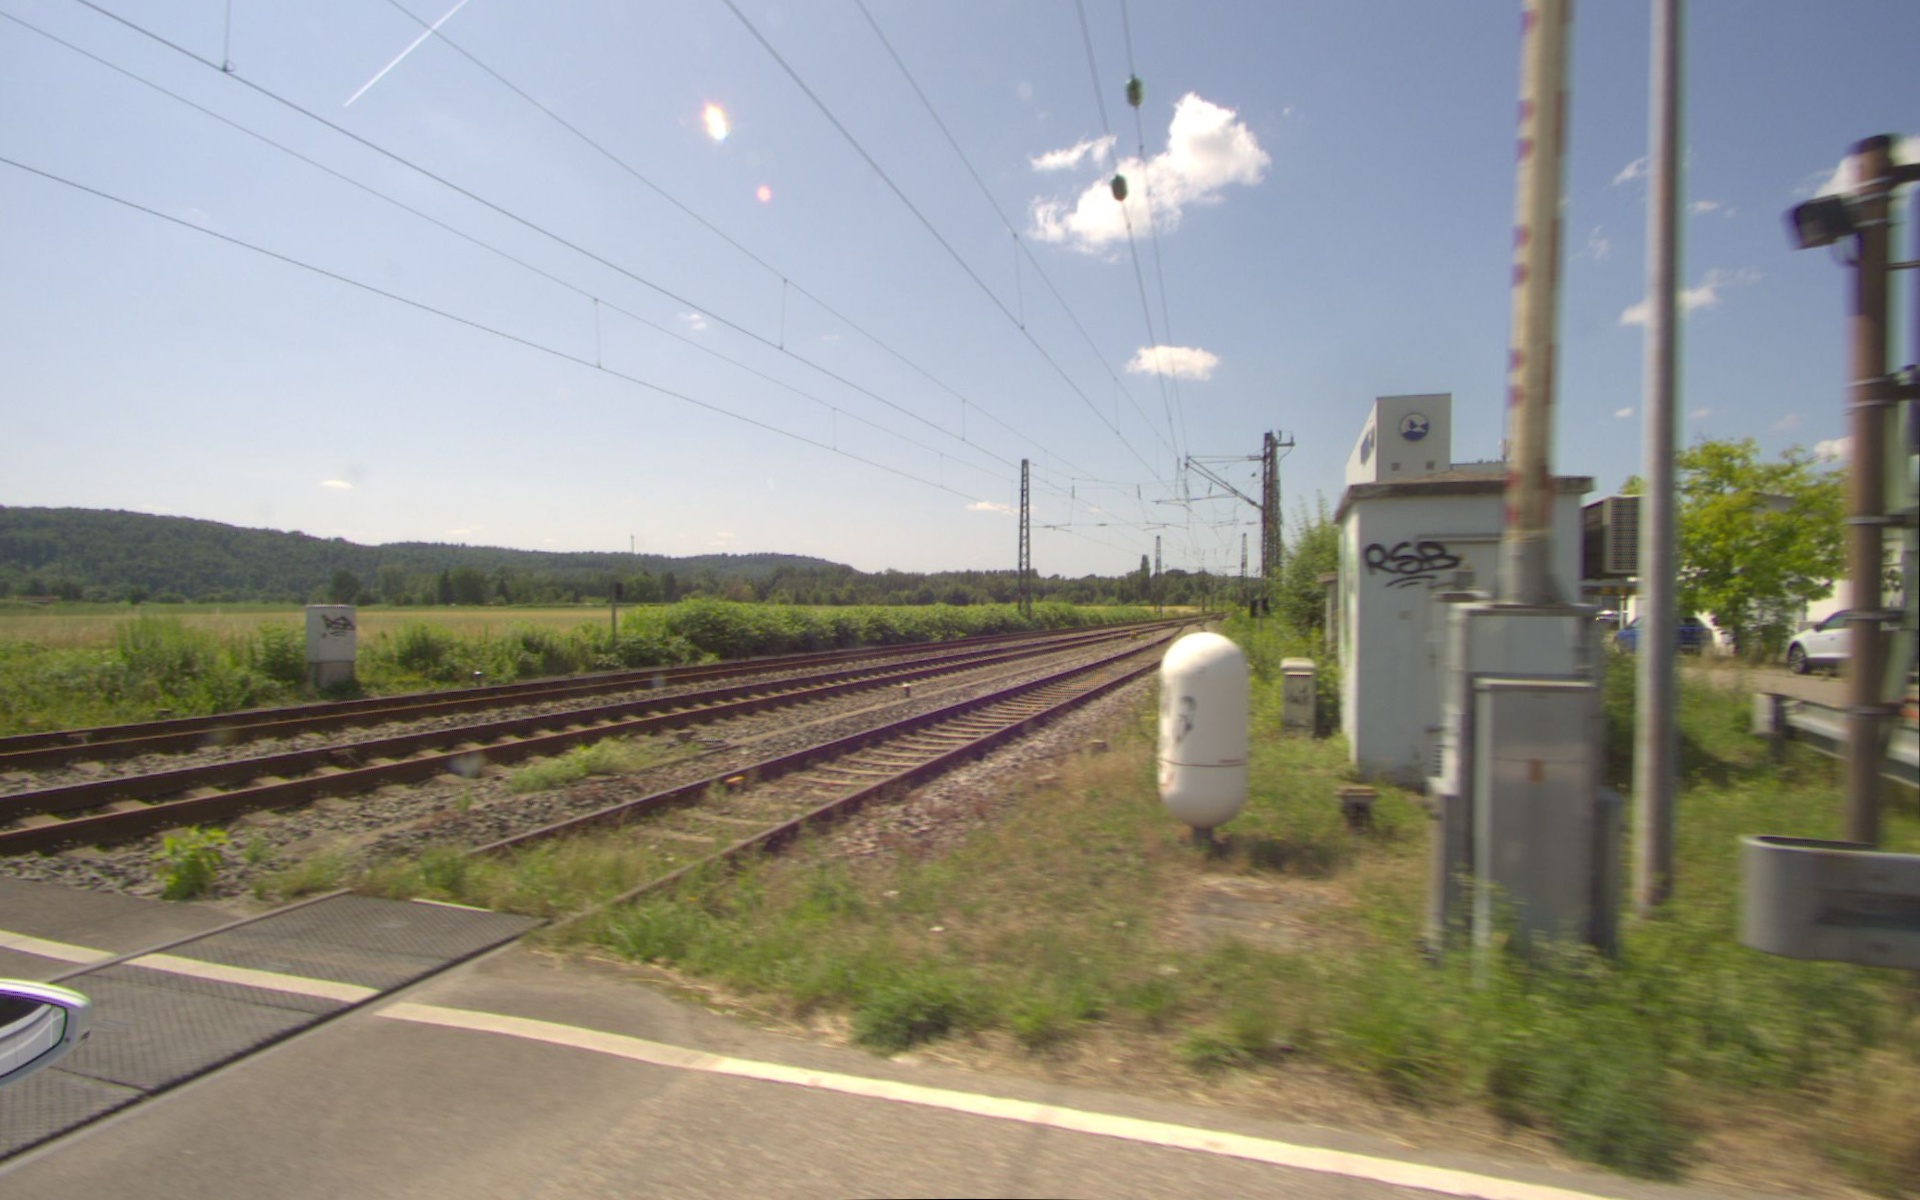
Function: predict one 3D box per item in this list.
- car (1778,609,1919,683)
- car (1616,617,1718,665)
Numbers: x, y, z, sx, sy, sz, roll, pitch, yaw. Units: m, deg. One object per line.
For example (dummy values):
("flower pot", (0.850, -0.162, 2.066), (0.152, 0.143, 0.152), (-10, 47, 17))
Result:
("car", (19.957, 0.969, 21.882), (1.620, 1.474, 3.997), (1, -1, 14))
("car", (22.398, 1.271, 31.836), (1.550, 1.394, 3.053), (0, 0, 12))
